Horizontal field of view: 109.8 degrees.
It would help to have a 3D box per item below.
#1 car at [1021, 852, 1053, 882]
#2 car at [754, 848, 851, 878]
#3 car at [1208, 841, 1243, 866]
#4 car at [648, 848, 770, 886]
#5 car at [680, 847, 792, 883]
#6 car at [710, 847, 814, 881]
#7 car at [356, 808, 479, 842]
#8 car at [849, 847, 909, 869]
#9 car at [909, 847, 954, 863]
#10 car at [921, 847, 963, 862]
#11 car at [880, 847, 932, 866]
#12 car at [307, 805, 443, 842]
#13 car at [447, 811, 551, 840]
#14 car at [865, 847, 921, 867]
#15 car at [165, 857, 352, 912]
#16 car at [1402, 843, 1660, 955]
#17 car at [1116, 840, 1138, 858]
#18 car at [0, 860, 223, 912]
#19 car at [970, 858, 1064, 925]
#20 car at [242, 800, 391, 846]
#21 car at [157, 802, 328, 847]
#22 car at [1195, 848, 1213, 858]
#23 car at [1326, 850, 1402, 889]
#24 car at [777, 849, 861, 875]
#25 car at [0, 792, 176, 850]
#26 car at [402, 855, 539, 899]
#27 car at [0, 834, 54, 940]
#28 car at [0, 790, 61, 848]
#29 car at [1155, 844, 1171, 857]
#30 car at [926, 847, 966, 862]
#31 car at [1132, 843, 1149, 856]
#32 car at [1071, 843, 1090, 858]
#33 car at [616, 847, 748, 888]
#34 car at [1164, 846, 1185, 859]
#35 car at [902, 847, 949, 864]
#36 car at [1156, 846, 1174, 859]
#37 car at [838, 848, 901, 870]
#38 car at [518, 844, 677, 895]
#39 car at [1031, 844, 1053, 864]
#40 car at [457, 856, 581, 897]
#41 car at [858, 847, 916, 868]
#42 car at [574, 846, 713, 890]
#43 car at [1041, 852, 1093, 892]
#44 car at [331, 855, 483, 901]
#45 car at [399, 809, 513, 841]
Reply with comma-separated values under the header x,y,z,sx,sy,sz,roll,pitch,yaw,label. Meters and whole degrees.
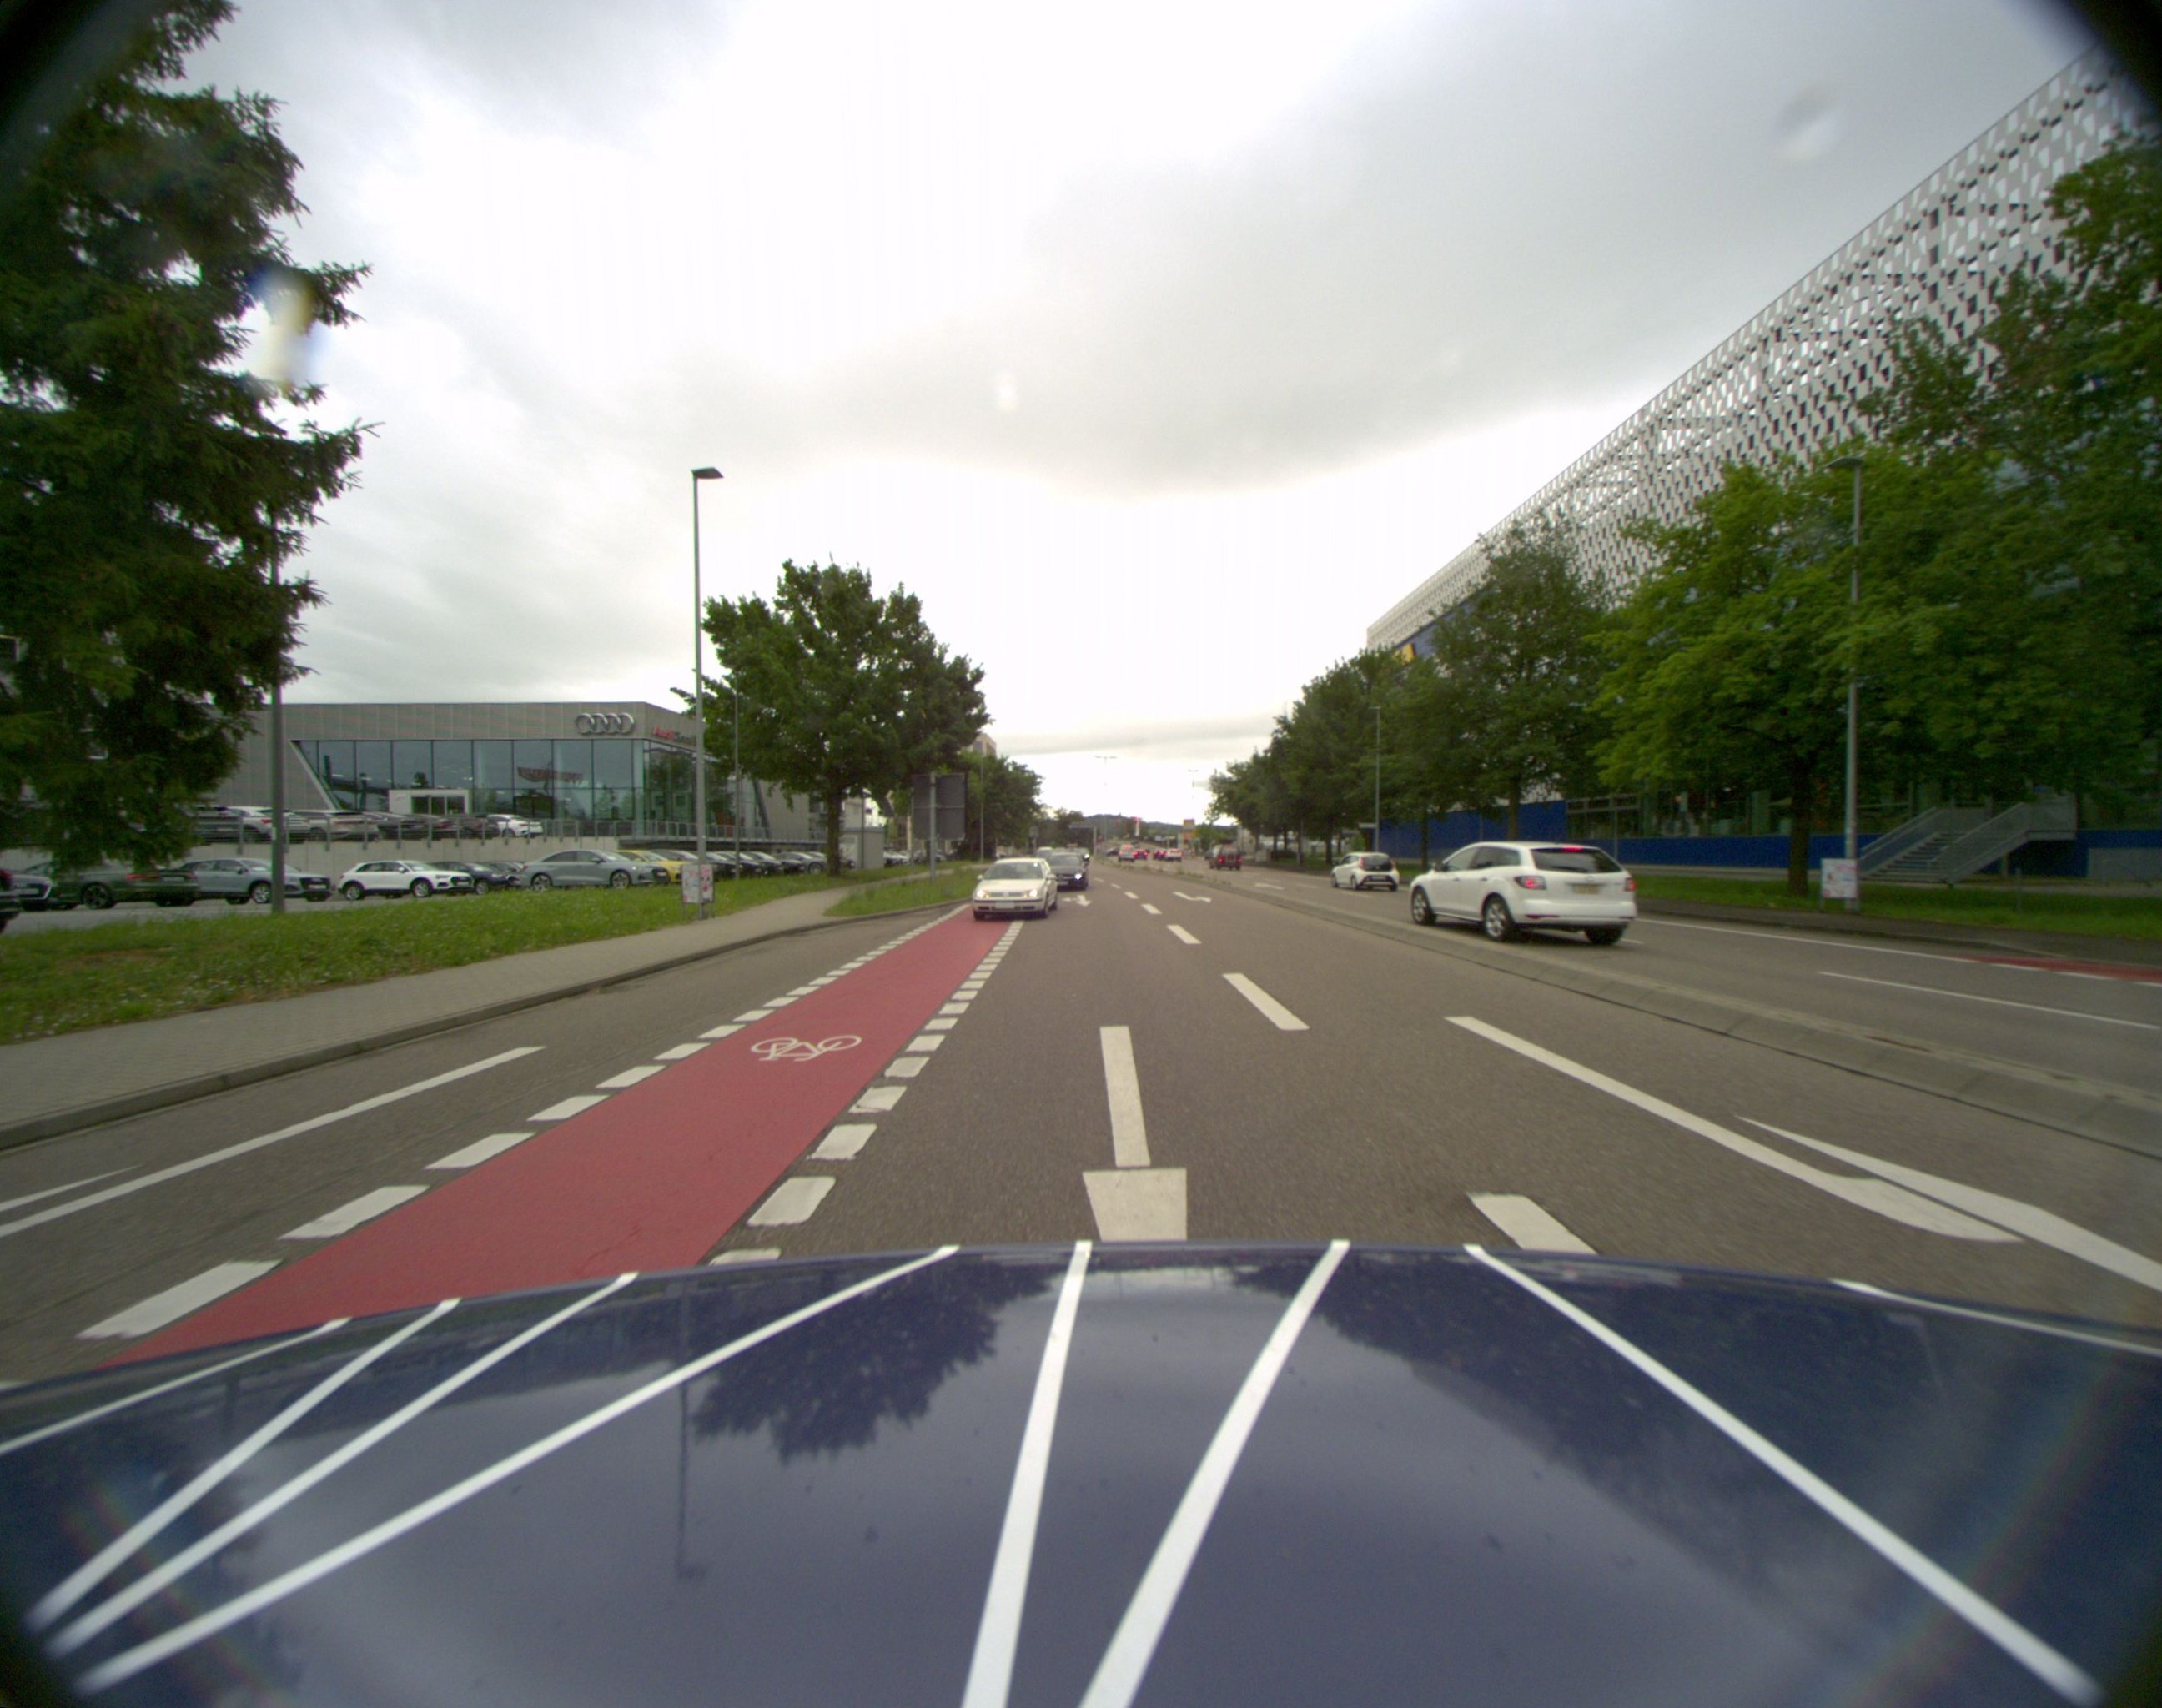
x,y,z,sx,sy,sz,roll,pitch,yaw,label
-2.627,0.728,44.968,1.788,1.638,3.998,0,1,-5,car
-15.810,0.495,43.309,4.763,1.416,1.902,-3,1,1,car
11.544,-0.038,60.851,1.772,1.913,4.908,1,1,-1,car
-16.121,0.539,33.085,4.308,1.370,1.838,-3,1,1,car
-16.048,0.490,35.512,4.308,1.436,1.844,-3,1,1,car
-15.965,0.484,38.171,4.308,1.436,1.844,-3,1,1,car
-32.300,-1.416,37.083,4.308,1.356,1.832,-3,1,-1,car
-15.314,0.307,57.746,4.040,1.384,1.727,-3,1,1,car
-14.857,0.113,75.725,4.040,1.384,1.727,-3,1,1,car
-14.859,0.072,81.209,4.040,1.384,1.727,-3,1,1,car
-15.056,0.219,65.529,4.040,1.384,1.727,-3,1,1,car
-31.830,-1.369,34.338,4.308,1.356,1.832,-3,1,-1,car
-32.379,-1.568,42.367,4.308,1.356,1.832,-3,1,-1,car
-15.476,0.267,62.621,4.040,1.384,1.727,-3,1,1,car
-26.473,0.960,24.564,3.916,1.451,1.902,-3,1,1,car
7.467,0.644,13.262,1.822,1.578,4.513,1,0,1,car
4.859,-0.549,80.863,1.651,1.788,3.979,1,0,-5,car
-26.724,0.844,20.761,4.309,1.320,1.902,-1,-1,-1,car
-1.507,0.873,19.227,1.726,1.416,3.942,-2,1,4,car
-31.827,-1.267,31.698,4.307,1.582,1.896,-3,1,3,car
-31.931,-1.107,29.027,4.308,1.425,1.864,-3,1,-1,car
18.401,-0.150,113.878,1.651,1.382,3.979,2,0,-5,car
11.020,0.565,29.843,1.628,1.414,3.611,1,1,0,car
-15.692,0.450,45.708,4.308,1.309,1.863,-3,1,1,car
-32.000,-1.016,24.056,4.308,1.517,1.832,-3,1,-1,car
-26.379,0.985,32.930,4.308,1.592,1.902,-3,1,1,car
-15.757,0.532,9.238,4.001,1.346,1.902,-3,1,2,car
-32.063,-0.891,21.287,4.308,1.518,1.859,-3,1,-1,car
12.204,-0.565,113.437,1.651,1.788,3.979,2,0,-5,car
-14.869,0.044,84.044,4.040,1.384,1.727,-3,1,1,car
8.357,-0.673,106.516,1.651,1.788,3.979,2,0,-5,car
-0.045,-0.402,76.015,1.836,1.416,4.000,-2,1,1,car
-15.907,0.513,30.446,4.308,1.350,1.739,-3,1,1,car
11.936,-0.190,97.316,1.728,1.602,3.979,2,0,-5,car
-14.931,0.145,73.144,4.040,1.384,1.727,-3,1,1,car
11.433,-0.221,103.344,1.651,1.788,3.979,2,0,-5,car
-15.366,0.340,55.328,4.040,1.384,1.727,-3,1,1,car
-16.282,0.510,25.730,4.198,1.423,1.739,-3,1,1,car
-3.756,-0.039,73.210,1.995,1.838,4.103,0,1,-2,car
-26.296,1.043,35.629,4.308,1.592,1.902,-3,1,1,car
-15.366,0.272,60.278,4.040,1.384,1.727,-3,1,1,car
-16.152,0.506,28.176,4.055,1.369,1.795,-3,1,2,car
-0.624,0.679,30.264,1.837,1.416,3.998,-2,1,-4,car
-26.681,0.933,30.186,4.308,1.592,1.902,-2,1,1,car
-32.494,-1.481,39.592,4.308,1.356,1.832,-3,1,-1,car
